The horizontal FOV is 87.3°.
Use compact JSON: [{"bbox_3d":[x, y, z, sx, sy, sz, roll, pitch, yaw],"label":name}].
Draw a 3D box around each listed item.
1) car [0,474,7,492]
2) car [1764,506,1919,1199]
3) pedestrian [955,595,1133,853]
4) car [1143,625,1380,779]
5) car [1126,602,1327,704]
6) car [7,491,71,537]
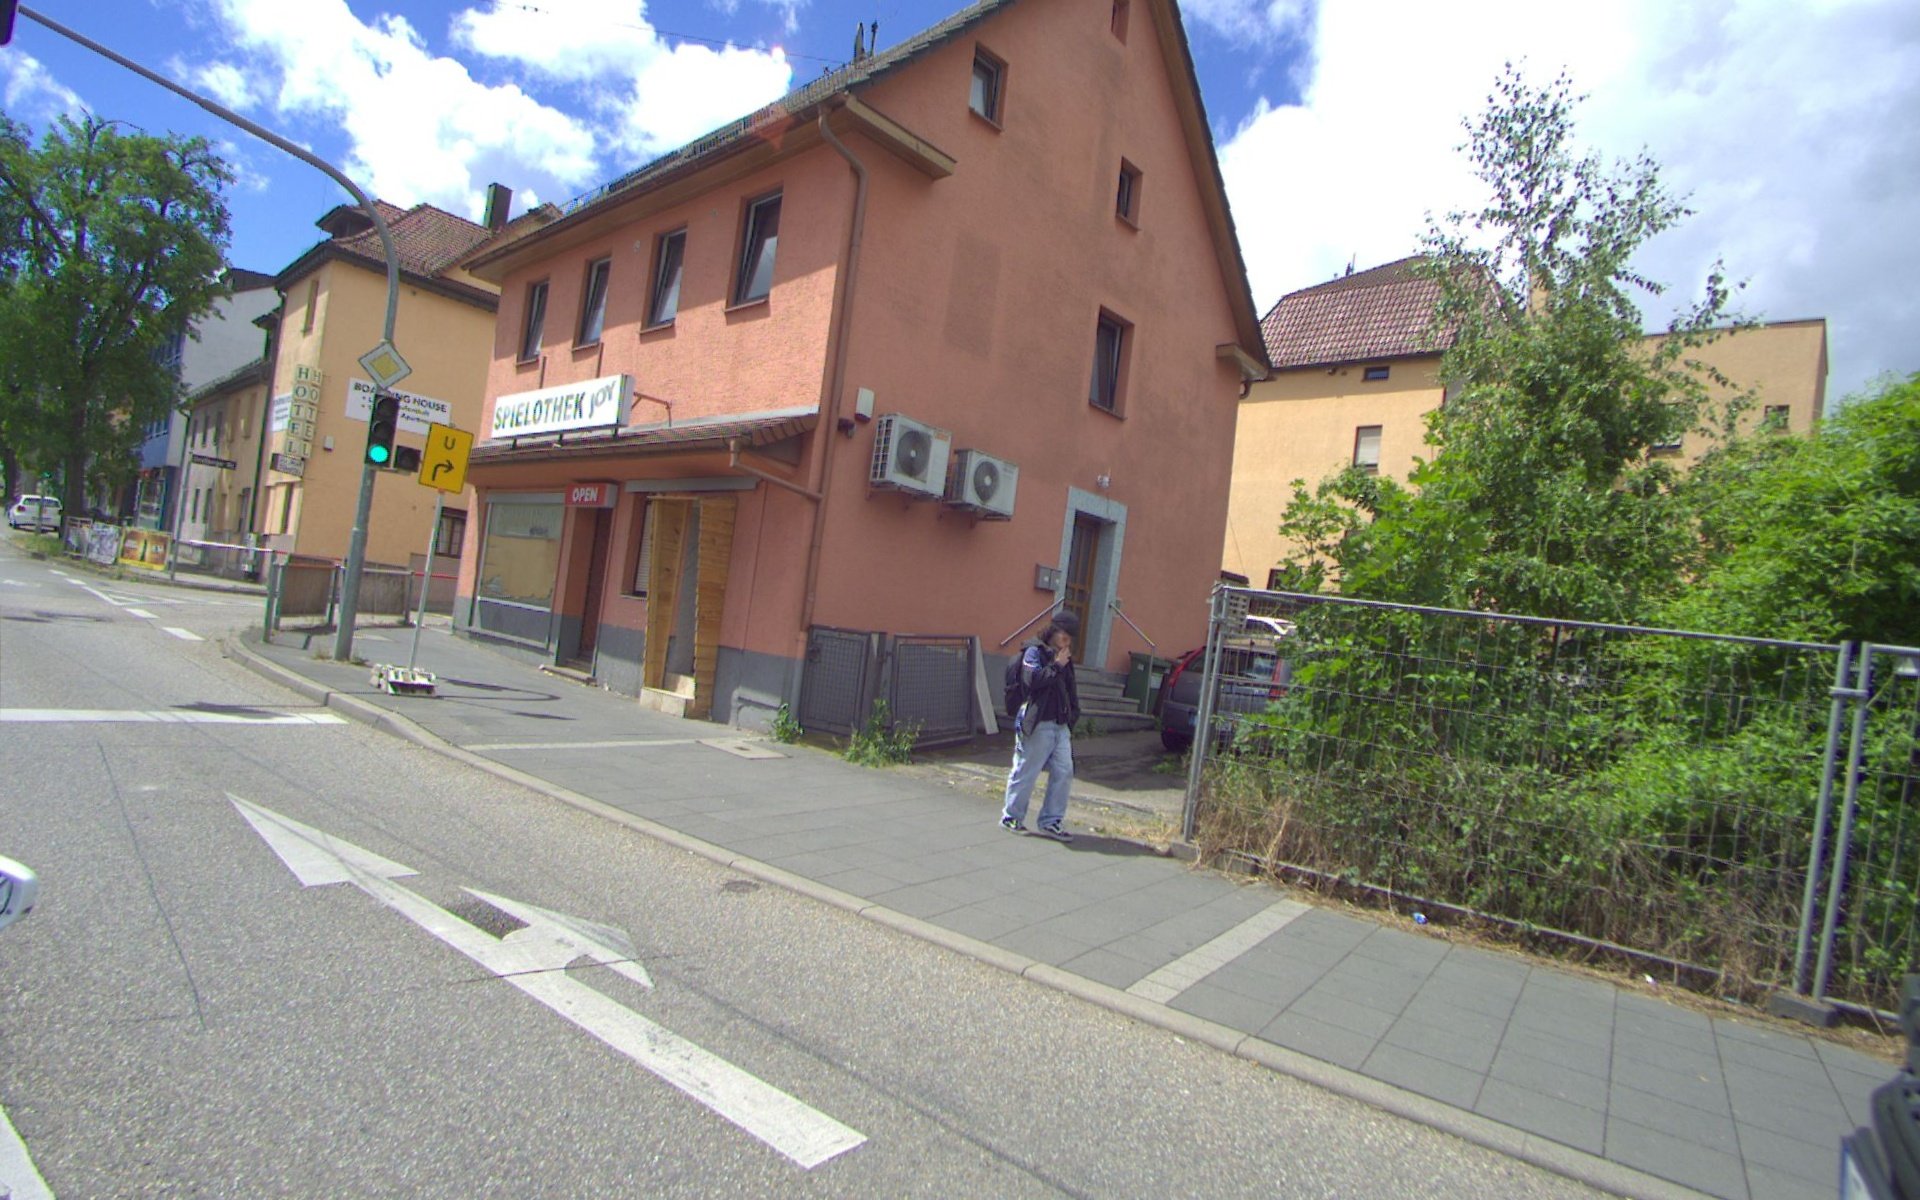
[{"bbox_3d":[-87.485,-10.713,90.659,1.806,1.486,3.959,8,-1,-37],"label":"car"},{"bbox_3d":[3.572,0.985,0.216,5.070,1.909,2.000,6,-1,35],"label":"car"},{"bbox_3d":[0.606,0.861,7.228,0.767,1.663,0.762,9,1,43],"label":"pedestrian"},{"bbox_3d":[3.788,1.195,12.478,1.627,1.516,2.796,7,2,43],"label":"car"},{"bbox_3d":[6.205,1.217,23.644,3.947,1.804,1.990,7,-1,44],"label":"car"},{"bbox_3d":[-39.413,-3.669,43.027,1.782,1.615,3.950,7,-1,-45],"label":"car"}]
